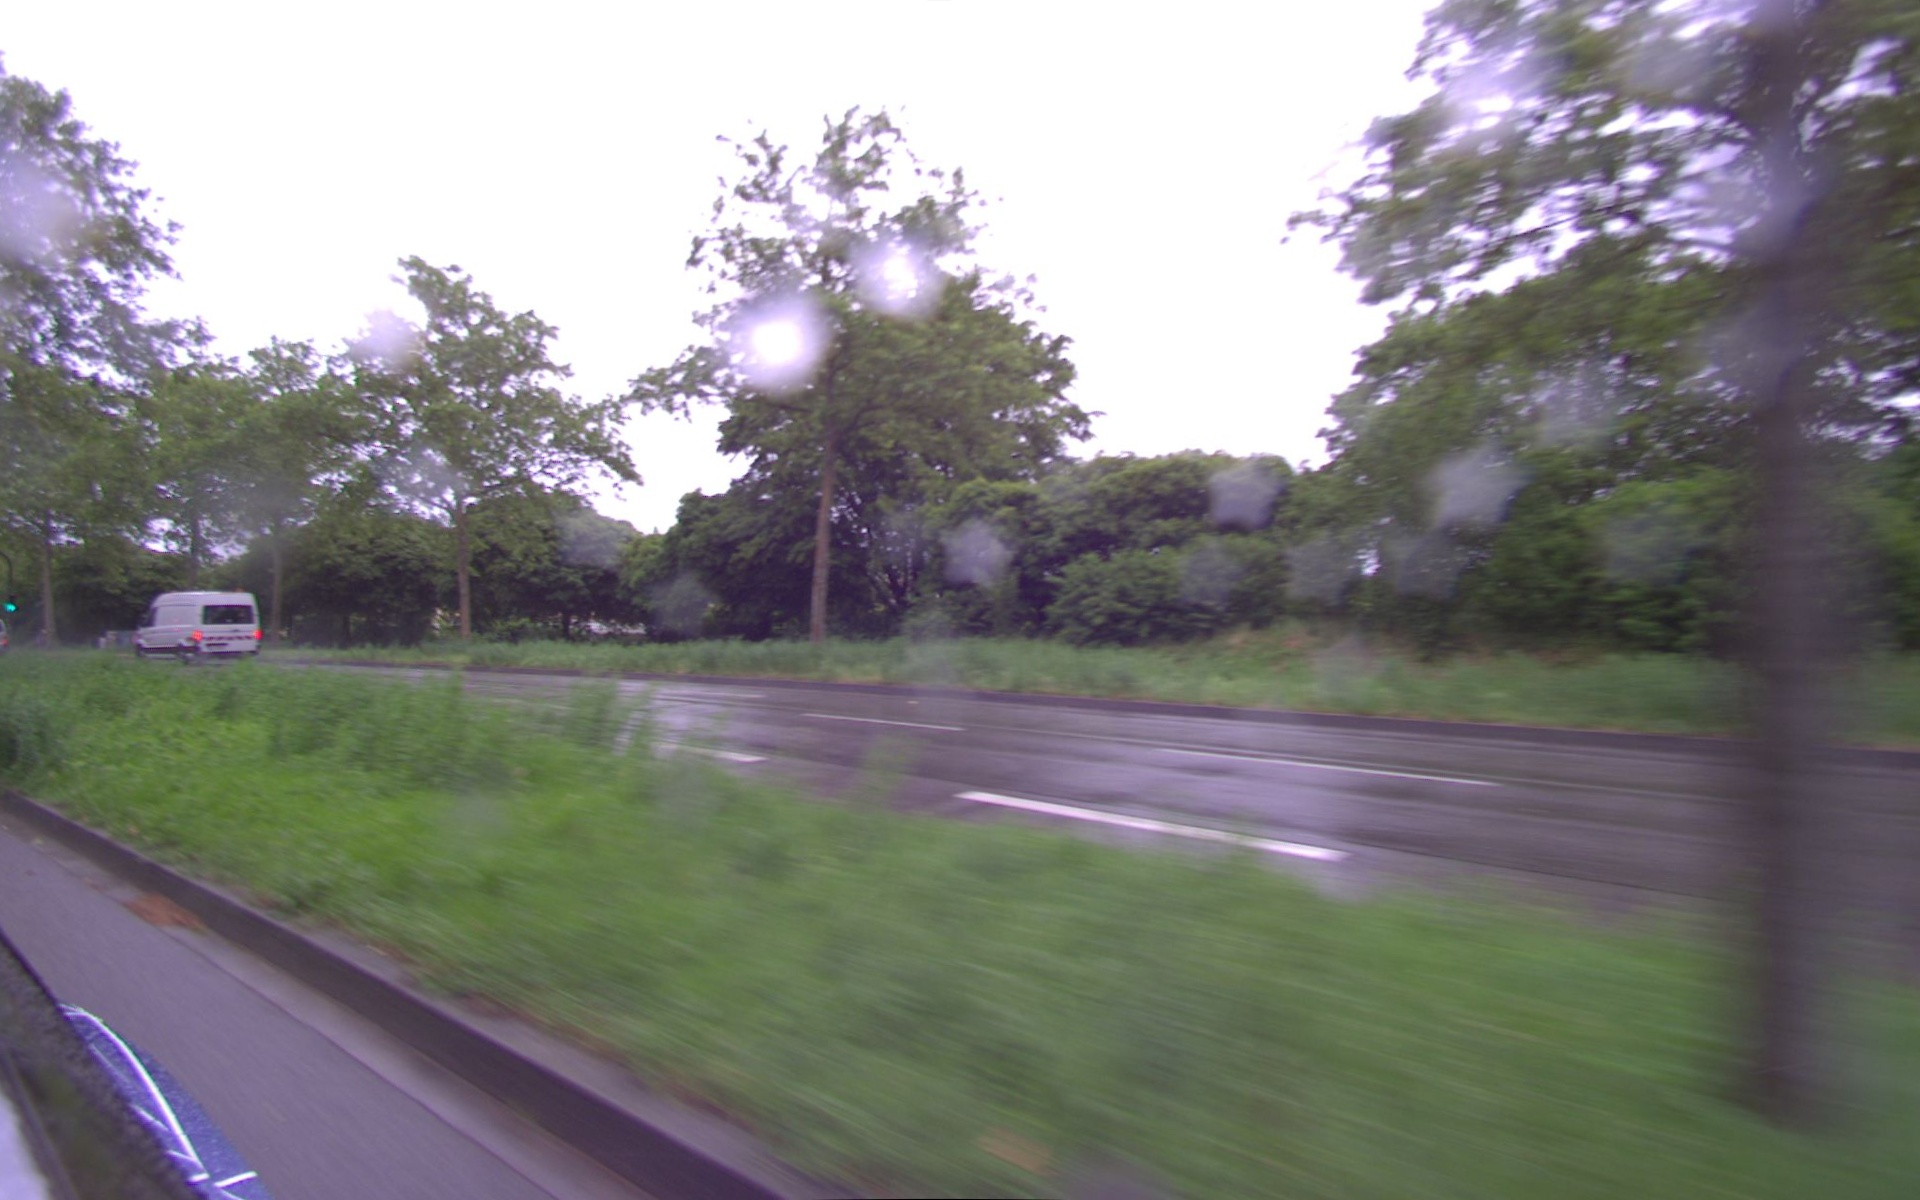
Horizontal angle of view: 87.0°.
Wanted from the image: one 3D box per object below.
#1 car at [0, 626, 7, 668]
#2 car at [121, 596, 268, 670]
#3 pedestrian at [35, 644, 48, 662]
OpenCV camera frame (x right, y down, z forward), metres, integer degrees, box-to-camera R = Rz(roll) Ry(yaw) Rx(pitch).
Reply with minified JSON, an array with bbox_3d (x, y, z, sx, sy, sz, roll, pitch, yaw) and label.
[{"bbox_3d":[-47.118,2.248,47.844,5.184,1.955,1.918,-2,-3,34],"label":"car"},{"bbox_3d":[-27.285,1.193,35.993,6.343,2.445,2.259,-2,-3,34],"label":"car"},{"bbox_3d":[-53.974,3.122,59.478,0.440,1.048,0.471,-2,-3,32],"label":"pedestrian"}]
